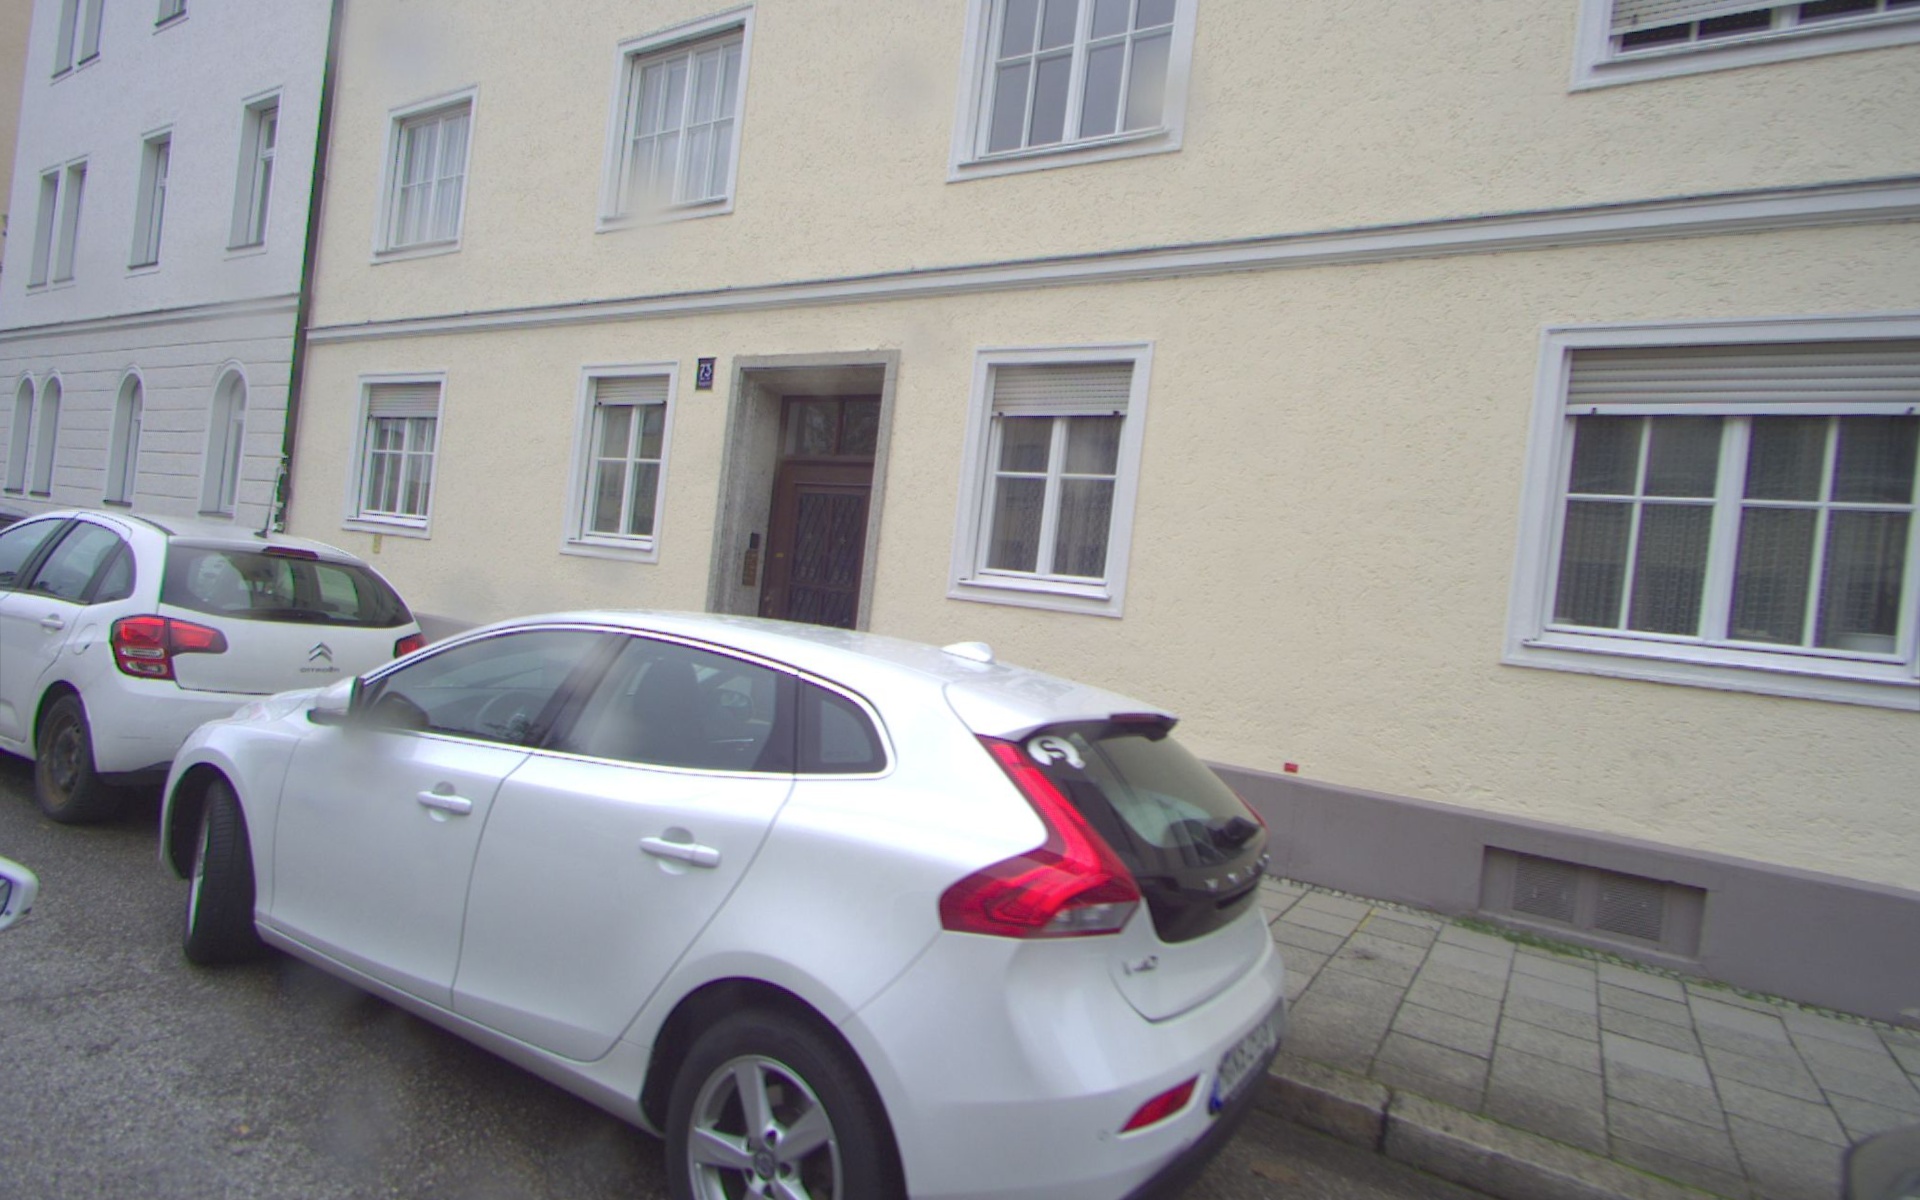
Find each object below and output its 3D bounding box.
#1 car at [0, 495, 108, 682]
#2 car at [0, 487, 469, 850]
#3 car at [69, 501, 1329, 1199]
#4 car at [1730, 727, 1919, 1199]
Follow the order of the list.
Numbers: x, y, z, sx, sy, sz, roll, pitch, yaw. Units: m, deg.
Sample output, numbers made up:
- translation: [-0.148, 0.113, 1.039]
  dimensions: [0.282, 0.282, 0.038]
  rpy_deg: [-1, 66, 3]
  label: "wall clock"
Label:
- translation: [-9.337, -0.293, 8.734]
  dimensions: [3.879, 1.449, 1.696]
  rpy_deg: [6, -2, 31]
  label: "car"
- translation: [-4.902, 0.206, 6.013]
  dimensions: [3.734, 1.509, 1.602]
  rpy_deg: [7, -1, 30]
  label: "car"
- translation: [-1.147, 0.670, 3.525]
  dimensions: [4.211, 1.510, 1.695]
  rpy_deg: [8, 0, 31]
  label: "car"
- translation: [3.308, 1.185, 0.606]
  dimensions: [4.270, 1.510, 1.695]
  rpy_deg: [6, -1, 31]
  label: "car"
